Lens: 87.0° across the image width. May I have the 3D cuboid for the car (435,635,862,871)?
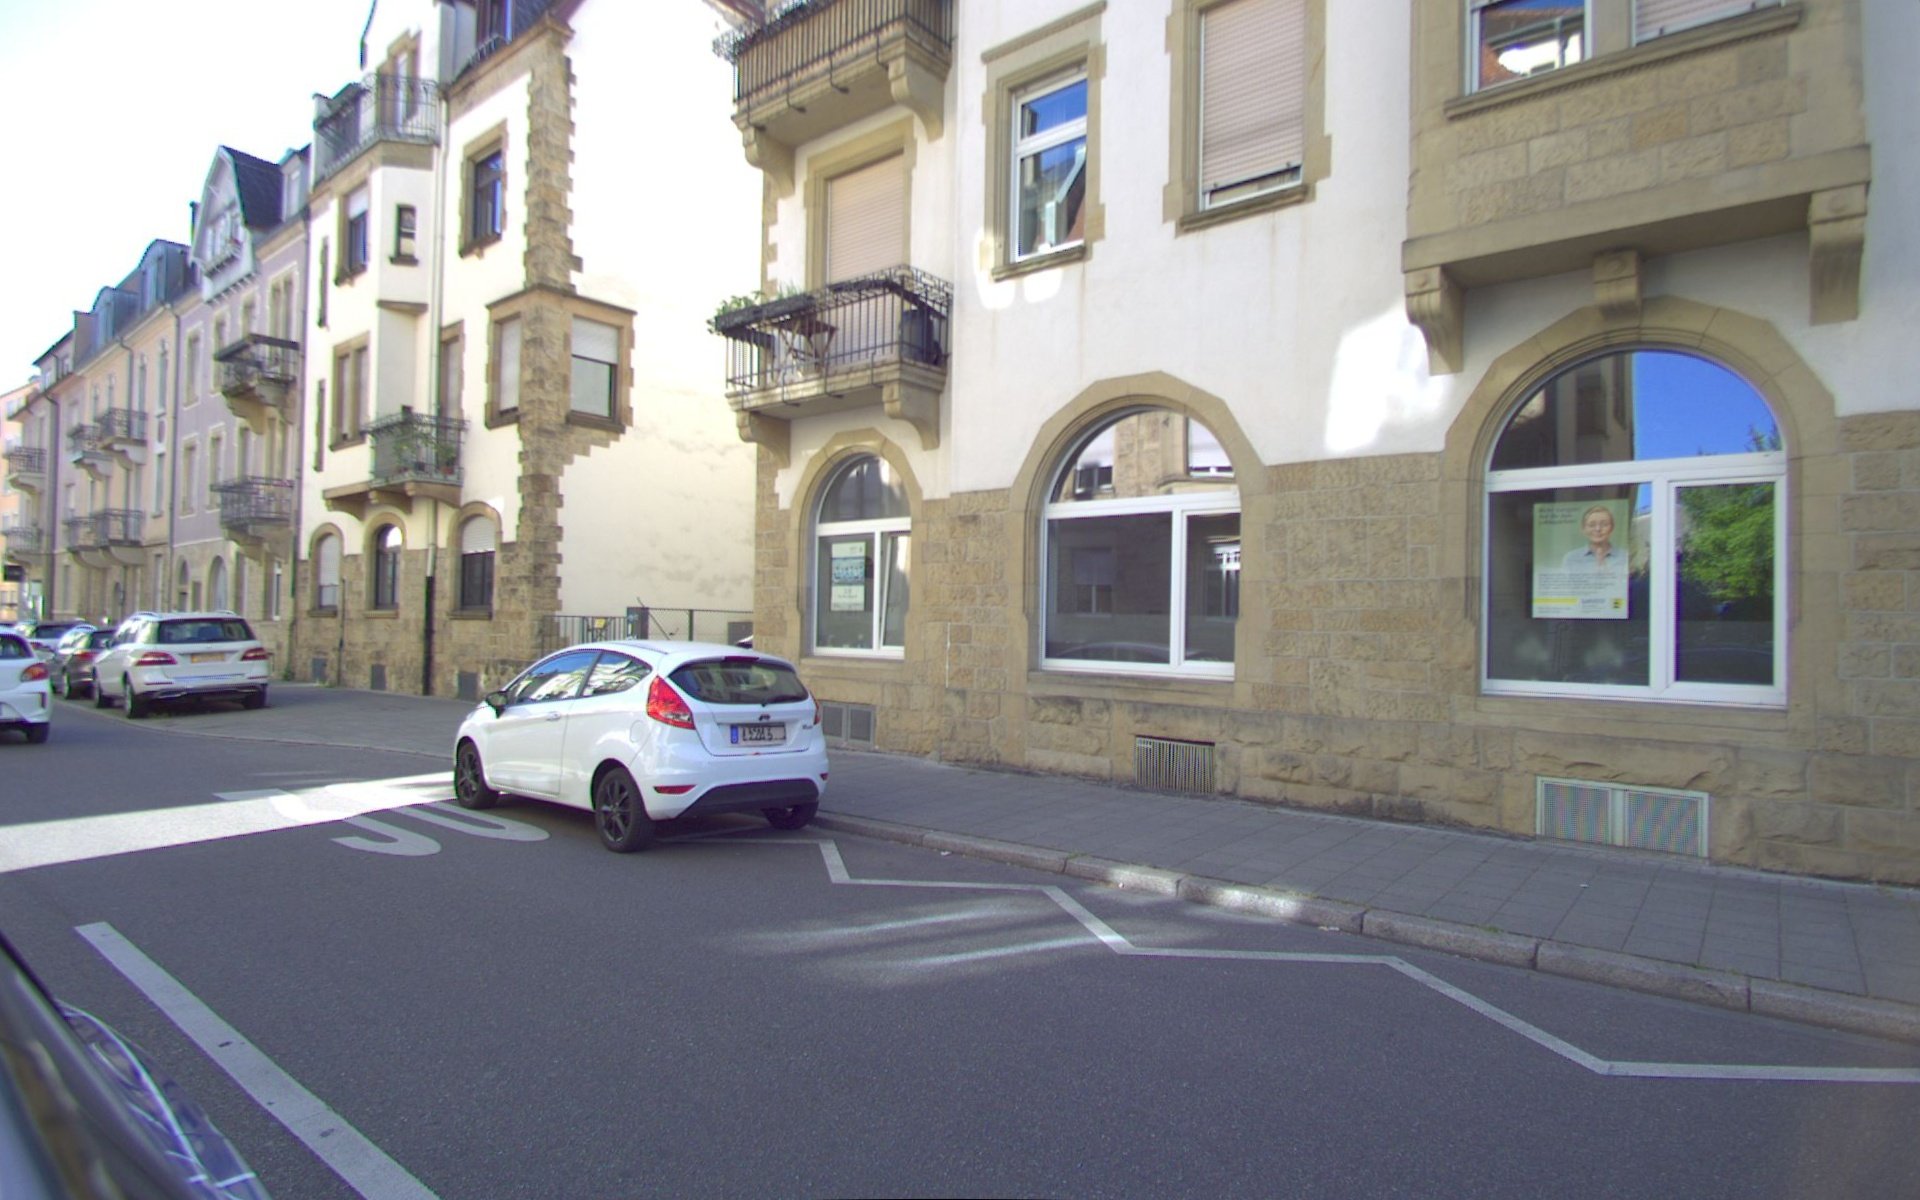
[{"bbox_3d":[-2.641,1.043,8.177,3.642,1.469,1.634,-2,-5,42],"label":"car"}]

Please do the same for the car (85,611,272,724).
[{"bbox_3d":[-13.958,1.094,17.997,4.209,1.740,1.866,-1,0,41],"label":"car"}]

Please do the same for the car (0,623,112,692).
[{"bbox_3d":[-22.953,1.377,25.431,4.319,1.520,1.866,-1,0,41],"label":"car"}]

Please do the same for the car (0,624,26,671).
[{"bbox_3d":[-33.335,1.602,34.428,4.319,1.520,1.866,-1,0,41],"label":"car"}]

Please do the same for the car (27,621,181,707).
[{"bbox_3d":[-18.449,1.285,21.749,4.319,1.519,1.866,-1,2,41],"label":"car"}]

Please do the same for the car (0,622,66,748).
[{"bbox_3d":[-12.952,1.027,12.843,3.528,1.495,1.682,-1,-4,37],"label":"car"}]

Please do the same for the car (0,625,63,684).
[{"bbox_3d":[-27.161,1.511,28.870,4.317,1.511,1.833,-1,0,41],"label":"car"}]
